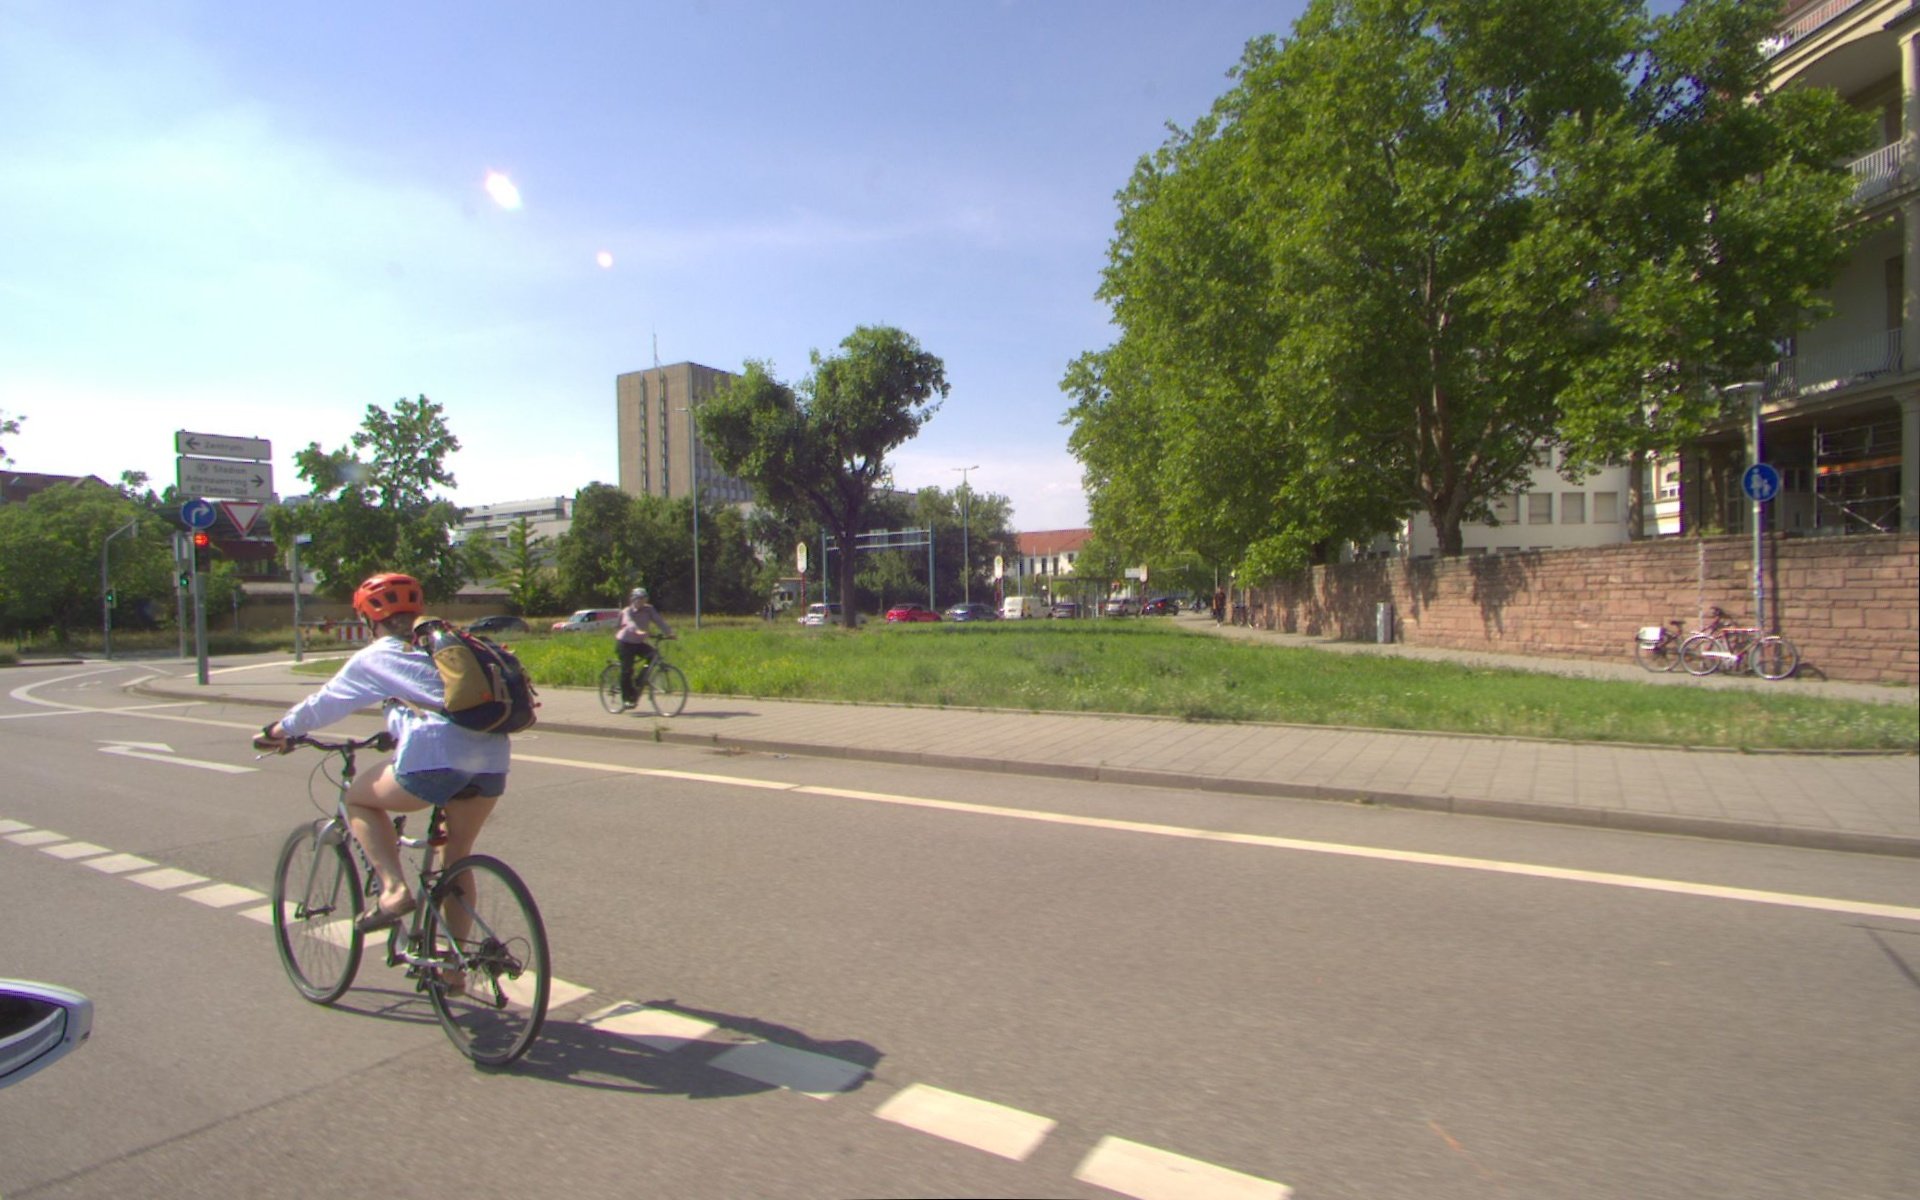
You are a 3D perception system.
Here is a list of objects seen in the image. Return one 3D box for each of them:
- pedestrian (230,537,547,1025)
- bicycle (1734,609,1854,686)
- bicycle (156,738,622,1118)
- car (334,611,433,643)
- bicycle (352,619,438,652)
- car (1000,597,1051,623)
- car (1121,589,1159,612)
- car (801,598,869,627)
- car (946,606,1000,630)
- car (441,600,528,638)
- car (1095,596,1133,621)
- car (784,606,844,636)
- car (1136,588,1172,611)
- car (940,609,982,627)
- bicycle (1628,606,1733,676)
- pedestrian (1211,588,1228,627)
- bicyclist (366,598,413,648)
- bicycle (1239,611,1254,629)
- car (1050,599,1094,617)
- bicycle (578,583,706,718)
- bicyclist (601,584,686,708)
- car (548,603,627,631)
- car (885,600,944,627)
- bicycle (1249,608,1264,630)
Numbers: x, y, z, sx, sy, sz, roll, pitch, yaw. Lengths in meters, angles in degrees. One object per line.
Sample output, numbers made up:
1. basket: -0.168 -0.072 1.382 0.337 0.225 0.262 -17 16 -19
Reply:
1. pedestrian: -2.039 0.563 3.567 0.999 1.485 0.582 -1 -1 32
2. bicycle: 12.930 0.710 15.569 0.343 1.138 1.430 -1 1 -24
3. bicycle: -2.130 1.031 3.616 2.000 0.943 0.595 -3 -2 33
4. car: -29.857 1.389 51.990 1.971 1.483 3.979 -2 0 31
5. bicycle: -17.093 1.074 30.335 2.128 0.928 0.674 -1 1 -11
6. car: 4.850 0.731 73.469 1.729 1.781 4.403 0 1 35
7. car: 16.373 0.057 91.112 1.972 2.040 3.976 -1 1 33
8. car: -6.997 0.686 56.483 1.727 1.528 3.978 0 1 32
9. car: 0.934 1.201 67.936 1.729 1.493 3.974 0 1 35
10. car: -26.991 1.067 56.938 1.972 2.040 3.976 0 1 34
11. car: 13.320 0.699 86.801 1.963 2.040 3.996 -1 0 -11
12. car: -10.558 1.505 72.519 1.975 2.039 3.972 -3 -1 37
13. car: 18.223 -0.035 93.995 1.972 2.040 3.976 -1 1 33
14. car: 0.077 1.598 89.764 1.618 1.424 4.081 -3 -1 37
15. bicycle: 12.314 0.683 17.142 0.346 1.138 1.421 -2 1 -44
16. pedestrian: 11.855 0.338 45.742 0.608 1.763 0.599 -1 1 2
17. bicyclist: -17.245 0.708 30.289 1.121 1.489 0.496 0 -1 -11
18. bicycle: 12.368 0.879 43.278 0.334 0.738 1.365 -1 1 5
19. car: 8.912 0.636 79.429 1.729 1.357 3.974 0 1 35
20. bicycle: -4.449 0.674 13.988 1.785 1.789 0.676 0 1 32
21. bicyclist: -4.416 0.620 13.978 0.905 1.677 0.676 0 1 32
22. car: -23.016 1.014 61.990 1.882 1.590 4.301 0 0 31
23. car: -2.784 0.852 61.988 1.727 1.527 3.982 0 -3 32
24. bicycle: 12.243 0.778 41.420 0.365 0.867 1.307 -1 1 7
